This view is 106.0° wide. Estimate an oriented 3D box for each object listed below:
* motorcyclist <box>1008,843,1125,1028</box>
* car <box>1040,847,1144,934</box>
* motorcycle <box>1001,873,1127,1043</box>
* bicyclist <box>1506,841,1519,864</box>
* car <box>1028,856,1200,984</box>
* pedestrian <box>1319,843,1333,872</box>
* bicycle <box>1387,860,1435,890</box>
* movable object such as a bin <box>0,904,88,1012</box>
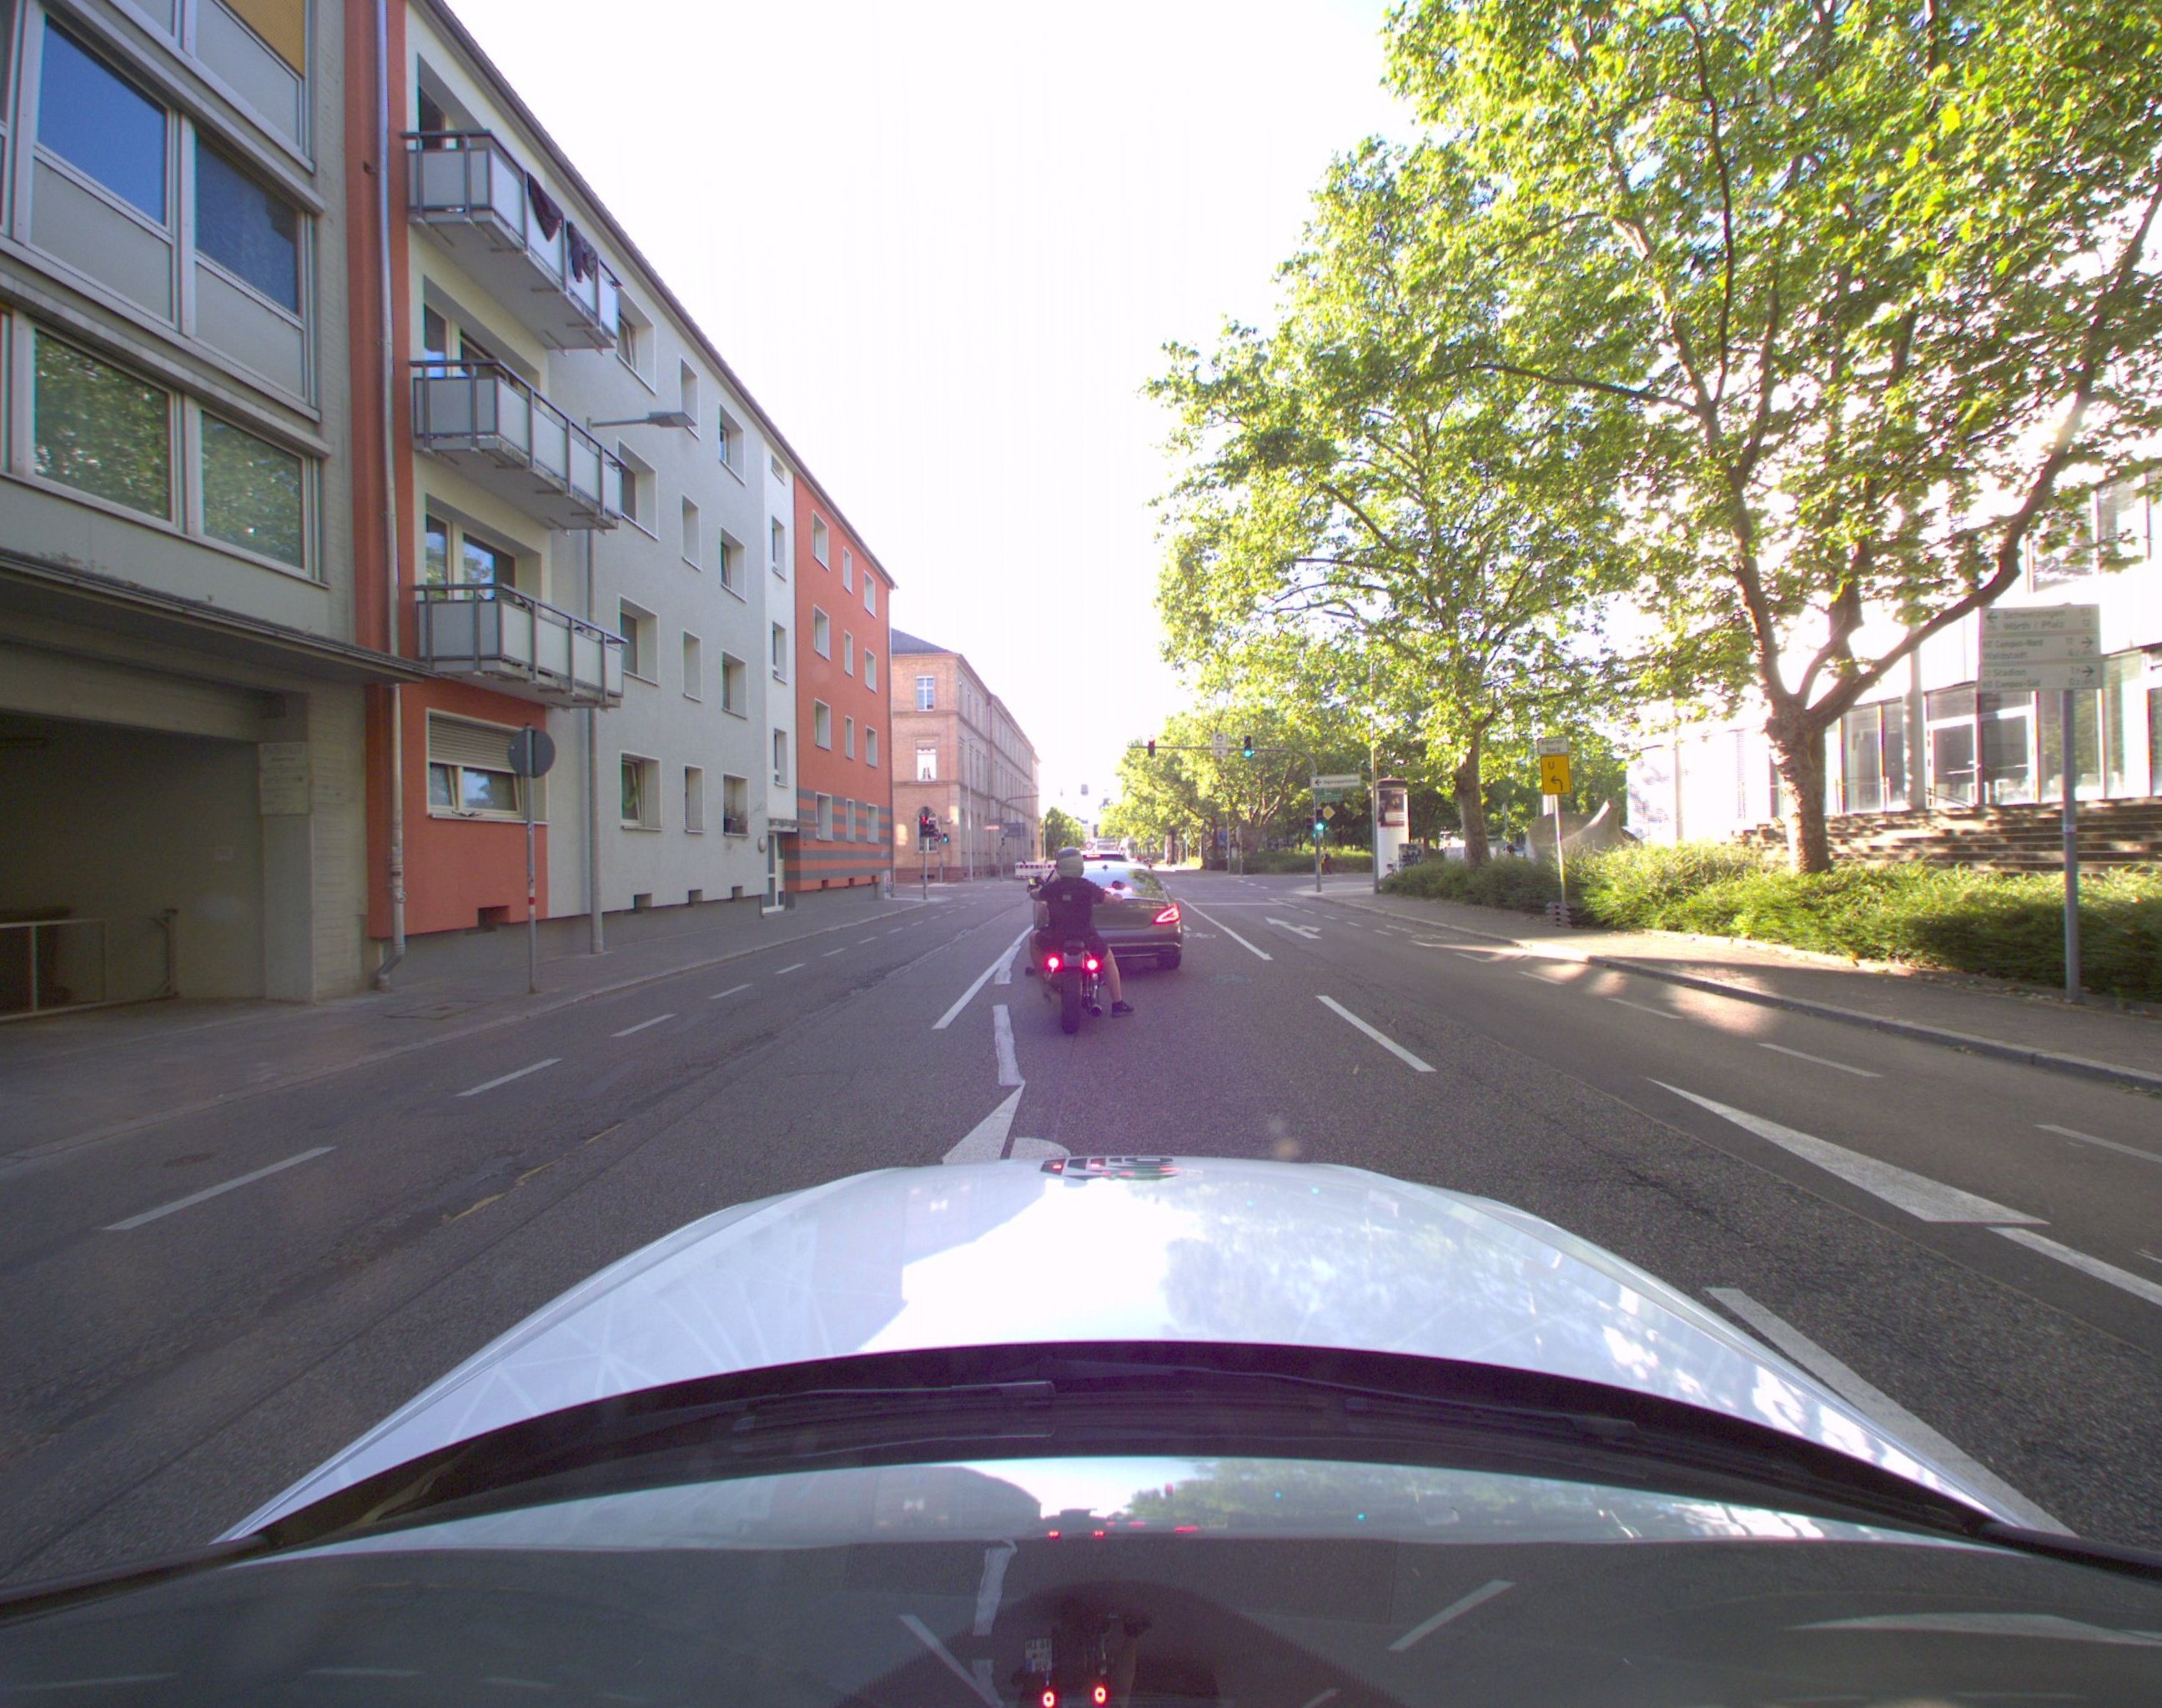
[{"bbox_3d":[-0.102,0.700,7.639,0.977,1.578,1.249,-1,0,1],"label":"motorcyclist"},{"bbox_3d":[0.282,0.725,17.680,1.986,1.665,4.001,0,-1,2],"label":"car"},{"bbox_3d":[-0.099,0.857,7.698,0.977,1.275,2.408,-1,0,2],"label":"motorcycle"},{"bbox_3d":[25.579,-0.108,48.265,0.520,1.347,0.544,0,-1,5],"label":"bicyclist"},{"bbox_3d":[0.257,0.773,11.753,1.867,1.444,4.421,-1,0,-6],"label":"car"},{"bbox_3d":[15.223,0.228,50.633,0.671,1.772,0.621,-1,-1,31],"label":"pedestrian"},{"bbox_3d":[11.072,0.713,27.331,1.475,0.980,0.300,0,-1,7],"label":"bicycle"},{"bbox_3d":[-11.296,1.090,8.655,0.639,1.065,0.675,-1,0,1],"label":"movable object such as a bin"}]
